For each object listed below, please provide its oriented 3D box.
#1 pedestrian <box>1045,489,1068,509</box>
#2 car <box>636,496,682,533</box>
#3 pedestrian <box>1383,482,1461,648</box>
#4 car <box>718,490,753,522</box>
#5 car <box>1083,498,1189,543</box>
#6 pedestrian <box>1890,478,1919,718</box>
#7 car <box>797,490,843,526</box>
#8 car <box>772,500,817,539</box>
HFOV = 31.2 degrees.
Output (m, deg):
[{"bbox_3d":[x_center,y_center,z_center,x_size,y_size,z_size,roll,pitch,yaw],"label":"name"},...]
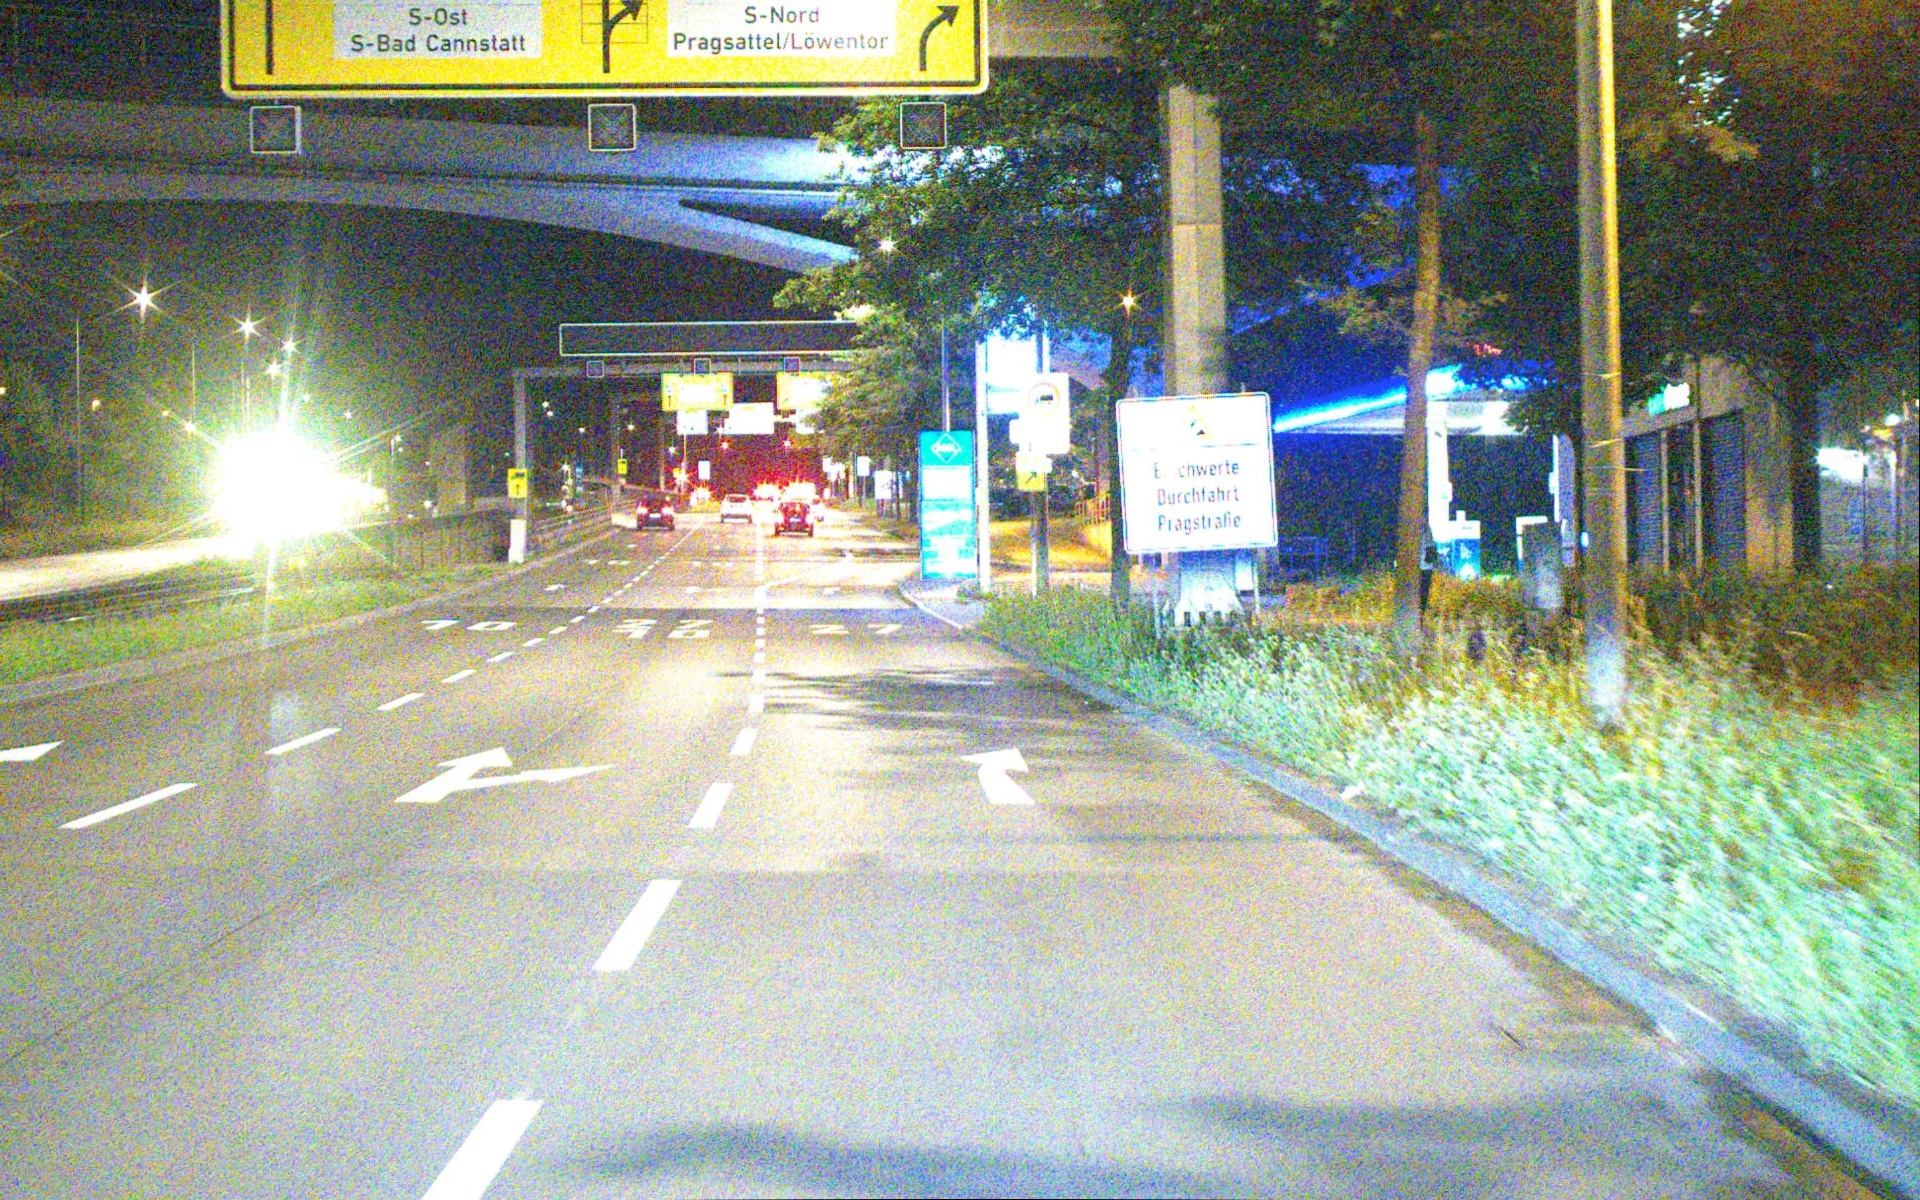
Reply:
[{"bbox_3d":[4.965,-5.189,176.599,0.913,1.035,0.770,0,2,40],"label":"pedestrian"},{"bbox_3d":[-14.543,-4.113,166.253,1.968,1.705,4.000,1,1,-1],"label":"car"},{"bbox_3d":[5.454,-0.416,40.632,0.805,1.906,0.793,-3,1,7],"label":"pedestrian"},{"bbox_3d":[-12.631,-5.289,193.696,1.782,1.705,4.000,1,1,-1],"label":"car"},{"bbox_3d":[6.558,-2.966,128.435,3.724,1.484,1.742,-2,1,-5],"label":"car"},{"bbox_3d":[7.237,-0.016,24.637,0.852,1.701,0.957,0,1,-2],"label":"pedestrian"},{"bbox_3d":[-8.330,-5.476,204.953,2.651,2.007,5.300,1,1,-1],"label":"car"},{"bbox_3d":[-7.649,-3.714,159.280,1.968,1.705,4.000,1,1,-1],"label":"car"}]
